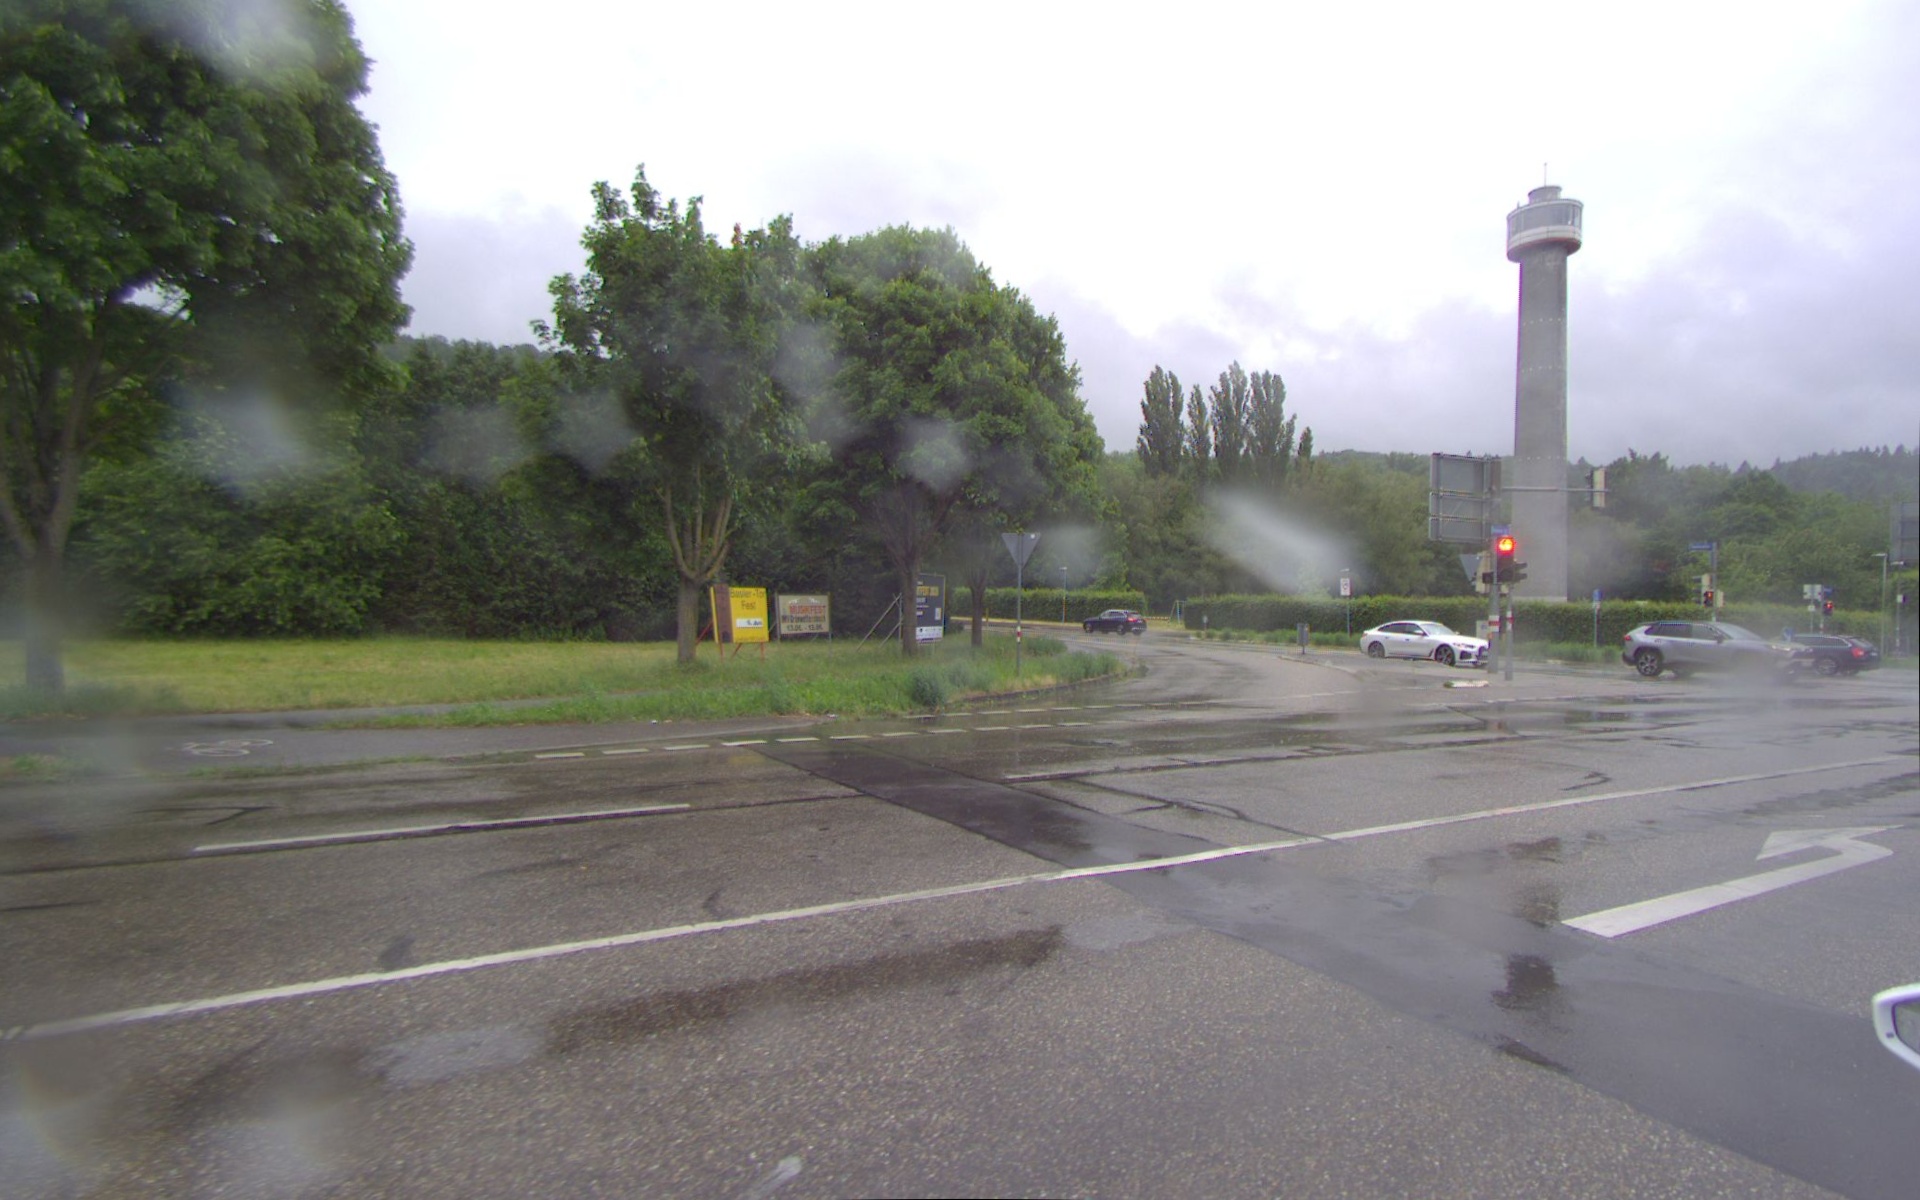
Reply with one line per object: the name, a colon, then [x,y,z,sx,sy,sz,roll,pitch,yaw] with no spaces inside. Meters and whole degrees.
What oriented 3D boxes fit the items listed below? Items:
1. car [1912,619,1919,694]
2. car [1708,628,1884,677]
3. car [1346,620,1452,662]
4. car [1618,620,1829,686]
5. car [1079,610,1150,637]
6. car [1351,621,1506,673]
car: [22.144,1.232,19.964,1.708,1.600,4.363,1,0,-24]
car: [30.421,1.858,36.710,1.800,1.574,4.649,1,-1,-29]
car: [22.266,2.040,51.088,1.897,1.941,4.636,1,-1,-36]
car: [21.840,1.451,28.983,1.885,1.601,4.517,1,1,-22]
car: [10.315,1.557,67.352,1.808,1.661,4.629,1,-1,-40]
car: [15.792,1.530,34.189,1.774,1.574,4.871,1,-1,-23]
